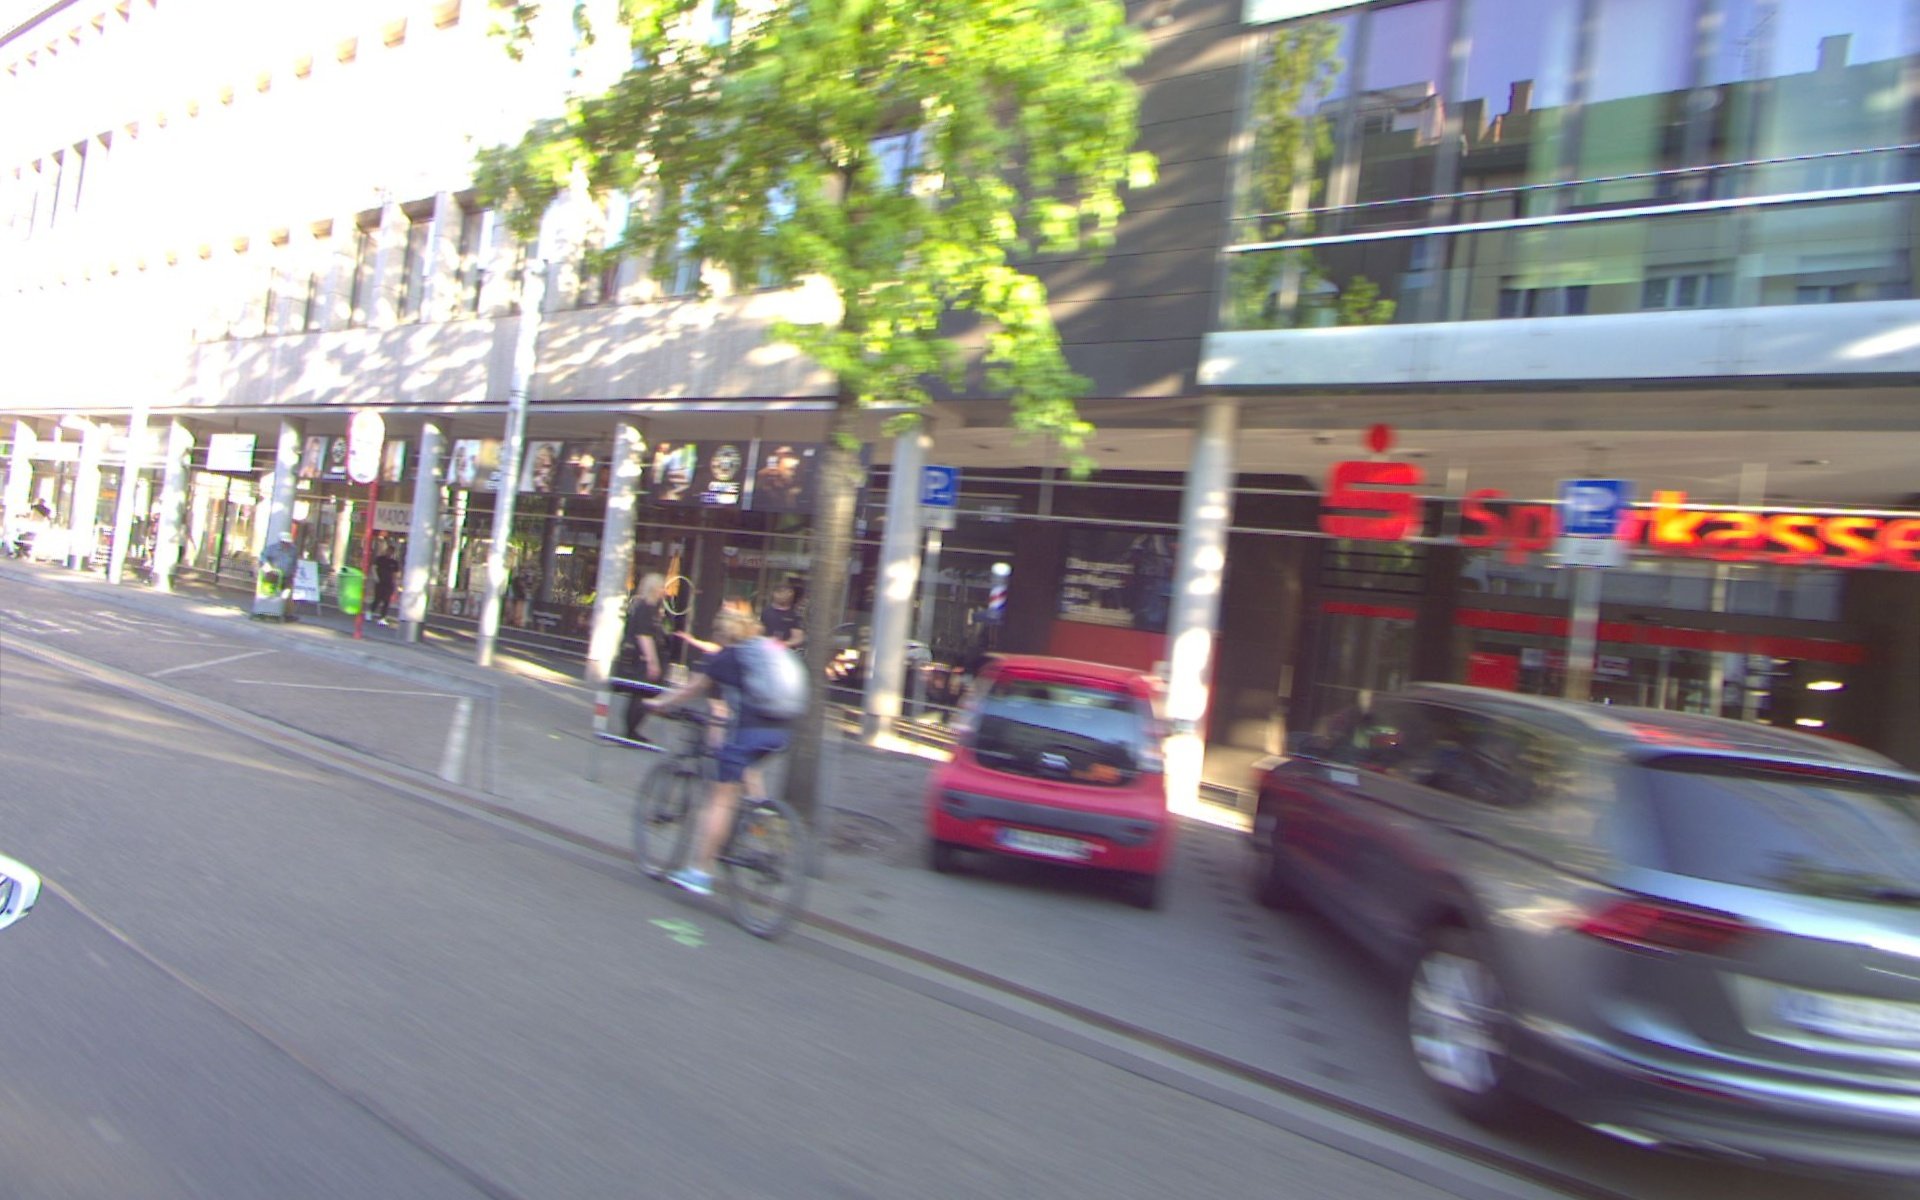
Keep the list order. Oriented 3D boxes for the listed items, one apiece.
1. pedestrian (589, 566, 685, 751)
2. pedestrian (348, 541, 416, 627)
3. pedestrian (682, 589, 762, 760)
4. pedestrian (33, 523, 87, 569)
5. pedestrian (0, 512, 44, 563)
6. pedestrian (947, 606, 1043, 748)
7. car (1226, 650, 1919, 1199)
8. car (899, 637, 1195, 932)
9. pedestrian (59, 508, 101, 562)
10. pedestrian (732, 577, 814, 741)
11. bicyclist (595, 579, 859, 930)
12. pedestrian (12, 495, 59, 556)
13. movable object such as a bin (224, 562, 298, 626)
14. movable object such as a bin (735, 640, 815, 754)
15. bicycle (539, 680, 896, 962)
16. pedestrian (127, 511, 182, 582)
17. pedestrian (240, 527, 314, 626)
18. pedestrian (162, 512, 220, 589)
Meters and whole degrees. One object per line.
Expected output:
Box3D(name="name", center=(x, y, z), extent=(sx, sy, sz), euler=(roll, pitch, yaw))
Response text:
Box3D(name="pedestrian", center=(-3.186, 0.557, 9.883), extent=(0.672, 1.707, 0.692), euler=(6, 1, -25))
Box3D(name="pedestrian", center=(-11.808, -0.318, 20.562), extent=(0.910, 1.607, 0.697), euler=(7, -1, 32))
Box3D(name="pedestrian", center=(-2.355, 0.718, 9.953), extent=(0.598, 1.572, 0.687), euler=(6, 1, -14))
Box3D(name="pedestrian", center=(-23.557, -1.404, 26.337), extent=(0.685, 1.042, 0.837), euler=(7, -2, 37))
Box3D(name="pedestrian", center=(-25.026, -1.666, 26.789), extent=(0.773, 1.212, 0.667), euler=(7, -1, 37))
Box3D(name="pedestrian", center=(0.487, 1.054, 13.860), extent=(0.833, 1.805, 0.781), euler=(7, -1, 31))
Box3D(name="car", center=(2.835, 1.292, 5.207), extent=(1.663, 1.673, 4.355), euler=(6, 0, 1))
Box3D(name="car", center=(0.856, 1.148, 7.714), extent=(1.635, 1.499, 3.399), euler=(7, 0, 12))
Box3D(name="pedestrian", center=(-27.384, -2.025, 31.295), extent=(0.783, 1.560, 0.643), euler=(7, -1, 32))
Box3D(name="pedestrian", center=(-2.121, 0.650, 11.365), extent=(0.679, 1.753, 0.630), euler=(6, 1, -16))
Box3D(name="bicyclist", center=(-1.248, 0.784, 5.397), extent=(0.900, 1.630, 0.777), euler=(7, -3, 41))
Box3D(name="pedestrian", center=(-28.890, -2.331, 31.433), extent=(0.821, 1.761, 0.717), euler=(7, -1, 32))
Box3D(name="movable object such as a bin", center=(-11.803, -0.101, 16.998), extent=(0.706, 0.934, 0.691), euler=(7, -3, 32))
Box3D(name="movable object such as a bin", center=(-2.004, 1.026, 10.821), extent=(0.679, 1.077, 0.830), euler=(6, 1, -16))
Box3D(name="bicycle", center=(-1.383, 1.097, 5.463), extent=(2.030, 1.006, 0.718), euler=(6, -4, 41))
Box3D(name="pedestrian", center=(-21.438, -1.422, 26.770), extent=(0.843, 1.720, 0.745), euler=(7, -1, 32))
Box3D(name="pedestrian", center=(-11.917, -0.406, 17.554), extent=(0.621, 1.590, 0.683), euler=(7, -2, 32))
Box3D(name="pedestrian", center=(-19.598, -1.253, 25.638), extent=(0.843, 1.813, 0.745), euler=(7, -1, 32))
